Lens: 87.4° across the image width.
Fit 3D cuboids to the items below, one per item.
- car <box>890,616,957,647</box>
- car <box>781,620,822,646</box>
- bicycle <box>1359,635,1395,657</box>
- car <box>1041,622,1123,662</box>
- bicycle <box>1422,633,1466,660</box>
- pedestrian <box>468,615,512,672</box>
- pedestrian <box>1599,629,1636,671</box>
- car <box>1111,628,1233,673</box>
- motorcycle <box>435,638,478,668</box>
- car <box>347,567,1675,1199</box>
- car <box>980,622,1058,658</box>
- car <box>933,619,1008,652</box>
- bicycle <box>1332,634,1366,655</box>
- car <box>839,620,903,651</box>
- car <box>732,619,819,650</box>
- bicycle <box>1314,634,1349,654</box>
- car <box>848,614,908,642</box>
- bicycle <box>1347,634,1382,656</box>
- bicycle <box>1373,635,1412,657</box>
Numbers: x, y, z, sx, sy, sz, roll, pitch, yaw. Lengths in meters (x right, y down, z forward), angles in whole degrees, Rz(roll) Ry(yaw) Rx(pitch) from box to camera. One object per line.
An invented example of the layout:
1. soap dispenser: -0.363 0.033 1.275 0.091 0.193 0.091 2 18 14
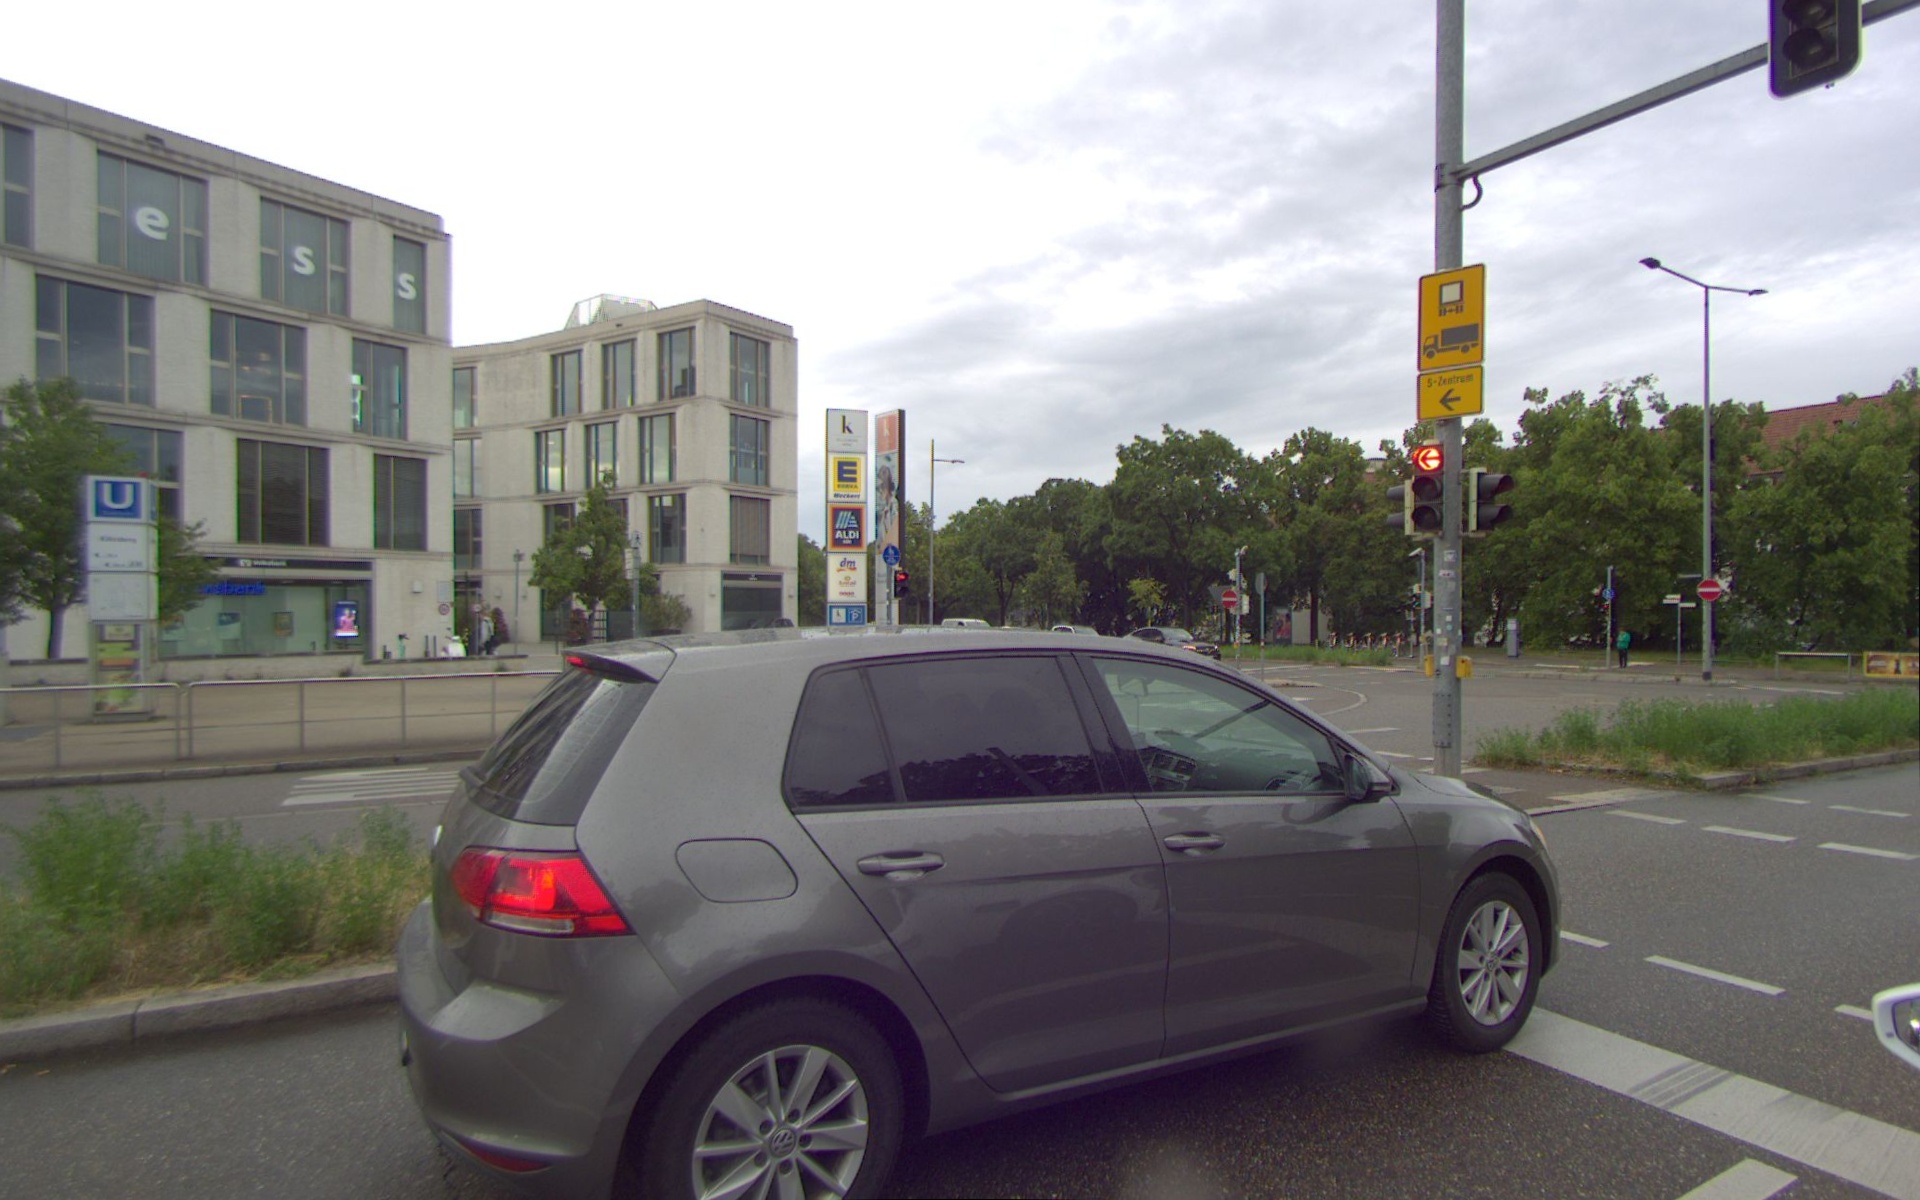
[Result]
1. car: -2.263 1.879 60.392 1.976 1.615 4.855 2 0 -29
2. car: -12.760 2.655 80.692 1.976 2.040 3.969 1 -1 -29
3. bicycle: 21.666 2.392 52.173 1.959 1.085 0.649 2 0 -30
4. car: 5.550 1.905 46.025 1.976 1.615 3.536 2 0 -30
5. bicycle: 23.753 2.286 49.261 1.959 1.266 0.986 2 0 -30
6. pedestrian: -13.787 1.258 29.472 0.752 1.626 0.911 0 -1 37
7. pedestrian: 27.922 2.122 42.659 0.933 1.750 0.919 2 0 -26
8. car: 8.389 1.963 40.239 1.976 1.520 5.001 2 0 -29
9. motorcycle: -13.938 1.462 27.800 1.081 0.750 0.522 2 0 29
10. car: 0.417 0.757 3.570 4.323 1.501 1.808 2 -1 -29
11. car: 2.937 1.990 50.908 1.976 1.615 4.185 2 0 -29
12. car: 0.526 1.939 55.404 1.976 1.615 4.855 2 0 -29
13. bicycle: 20.932 2.386 54.034 1.959 1.085 0.649 2 0 -30
14. car: -5.335 2.104 59.697 1.976 1.615 4.855 2 0 -29
15. car: -9.193 1.711 50.316 1.968 1.483 3.985 0 -2 37
16. bicycle: 20.261 2.399 54.763 1.959 1.085 0.649 2 0 -30
17. car: -5.465 1.808 66.111 1.977 1.615 4.852 2 0 -31
18. bicycle: 21.365 2.375 53.033 1.959 1.085 0.649 2 0 -30
19. bicycle: 22.237 2.359 51.649 1.959 1.085 0.798 2 0 -30
